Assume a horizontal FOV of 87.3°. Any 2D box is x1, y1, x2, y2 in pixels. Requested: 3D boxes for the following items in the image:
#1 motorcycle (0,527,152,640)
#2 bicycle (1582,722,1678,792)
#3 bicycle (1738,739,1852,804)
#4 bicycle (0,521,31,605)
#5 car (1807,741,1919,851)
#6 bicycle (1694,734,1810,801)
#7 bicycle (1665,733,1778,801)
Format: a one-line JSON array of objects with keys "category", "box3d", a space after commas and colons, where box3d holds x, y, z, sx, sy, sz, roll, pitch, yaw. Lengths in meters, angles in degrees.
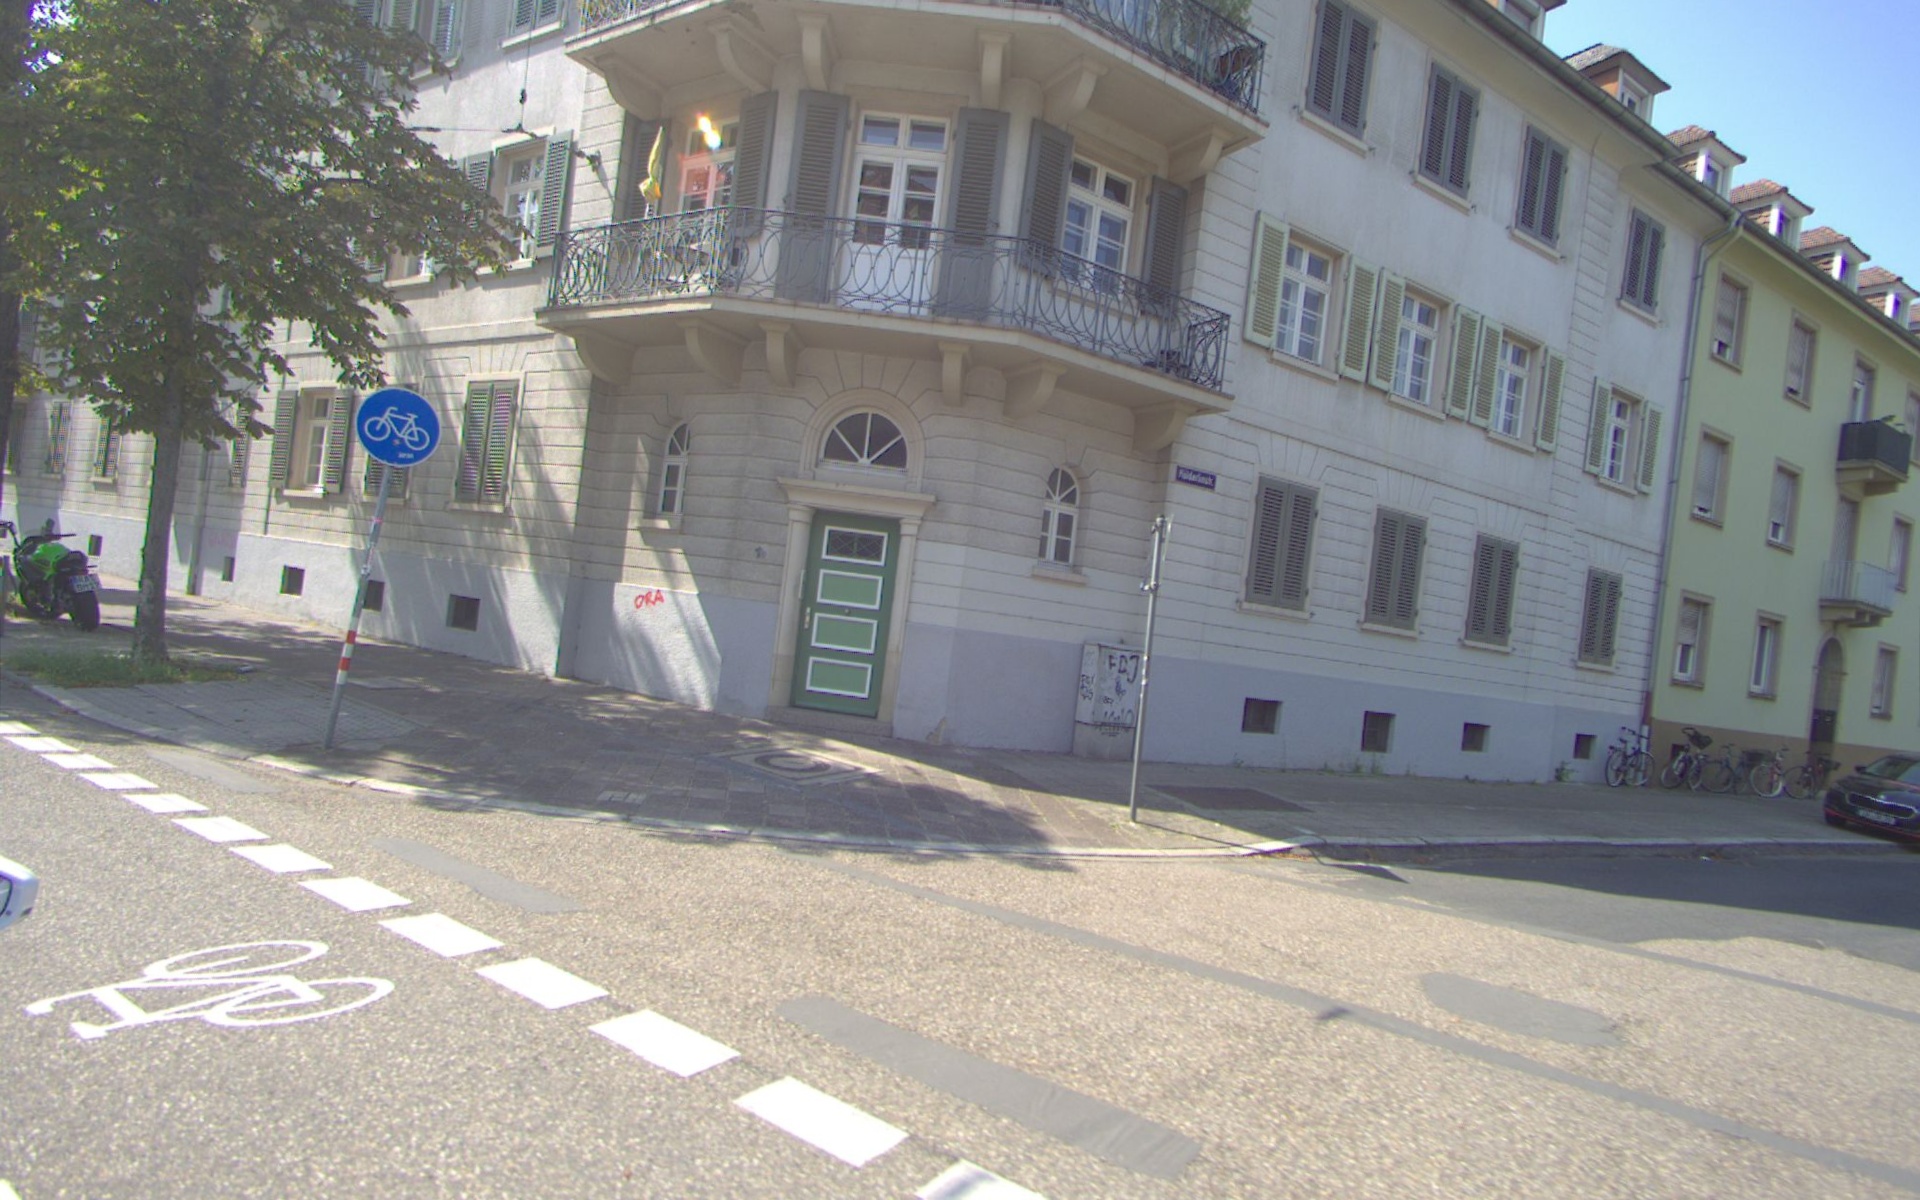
[{"category": "motorcycle", "box3d": [-11.130, -0.230, 12.476, 2.456, 1.124, 0.828, 6, -1, 31]}, {"category": "bicycle", "box3d": [12.569, 2.955, 18.849, 2.188, 1.129, 0.453, 8, -1, -29]}, {"category": "bicycle", "box3d": [18.488, 3.795, 22.278, 2.174, 1.129, 0.456, 7, 0, -6]}, {"category": "bicycle", "box3d": [-14.035, -0.606, 13.770, 0.645, 1.136, 1.758, 7, -1, 32]}, {"category": "car", "box3d": [17.196, 3.543, 17.899, 4.284, 1.559, 1.866, 8, -1, -31]}, {"category": "bicycle", "box3d": [16.807, 3.557, 21.348, 2.174, 1.129, 0.455, 7, 0, -8]}, {"category": "bicycle", "box3d": [15.512, 3.403, 20.489, 2.177, 1.129, 0.455, 7, 0, -13]}]
